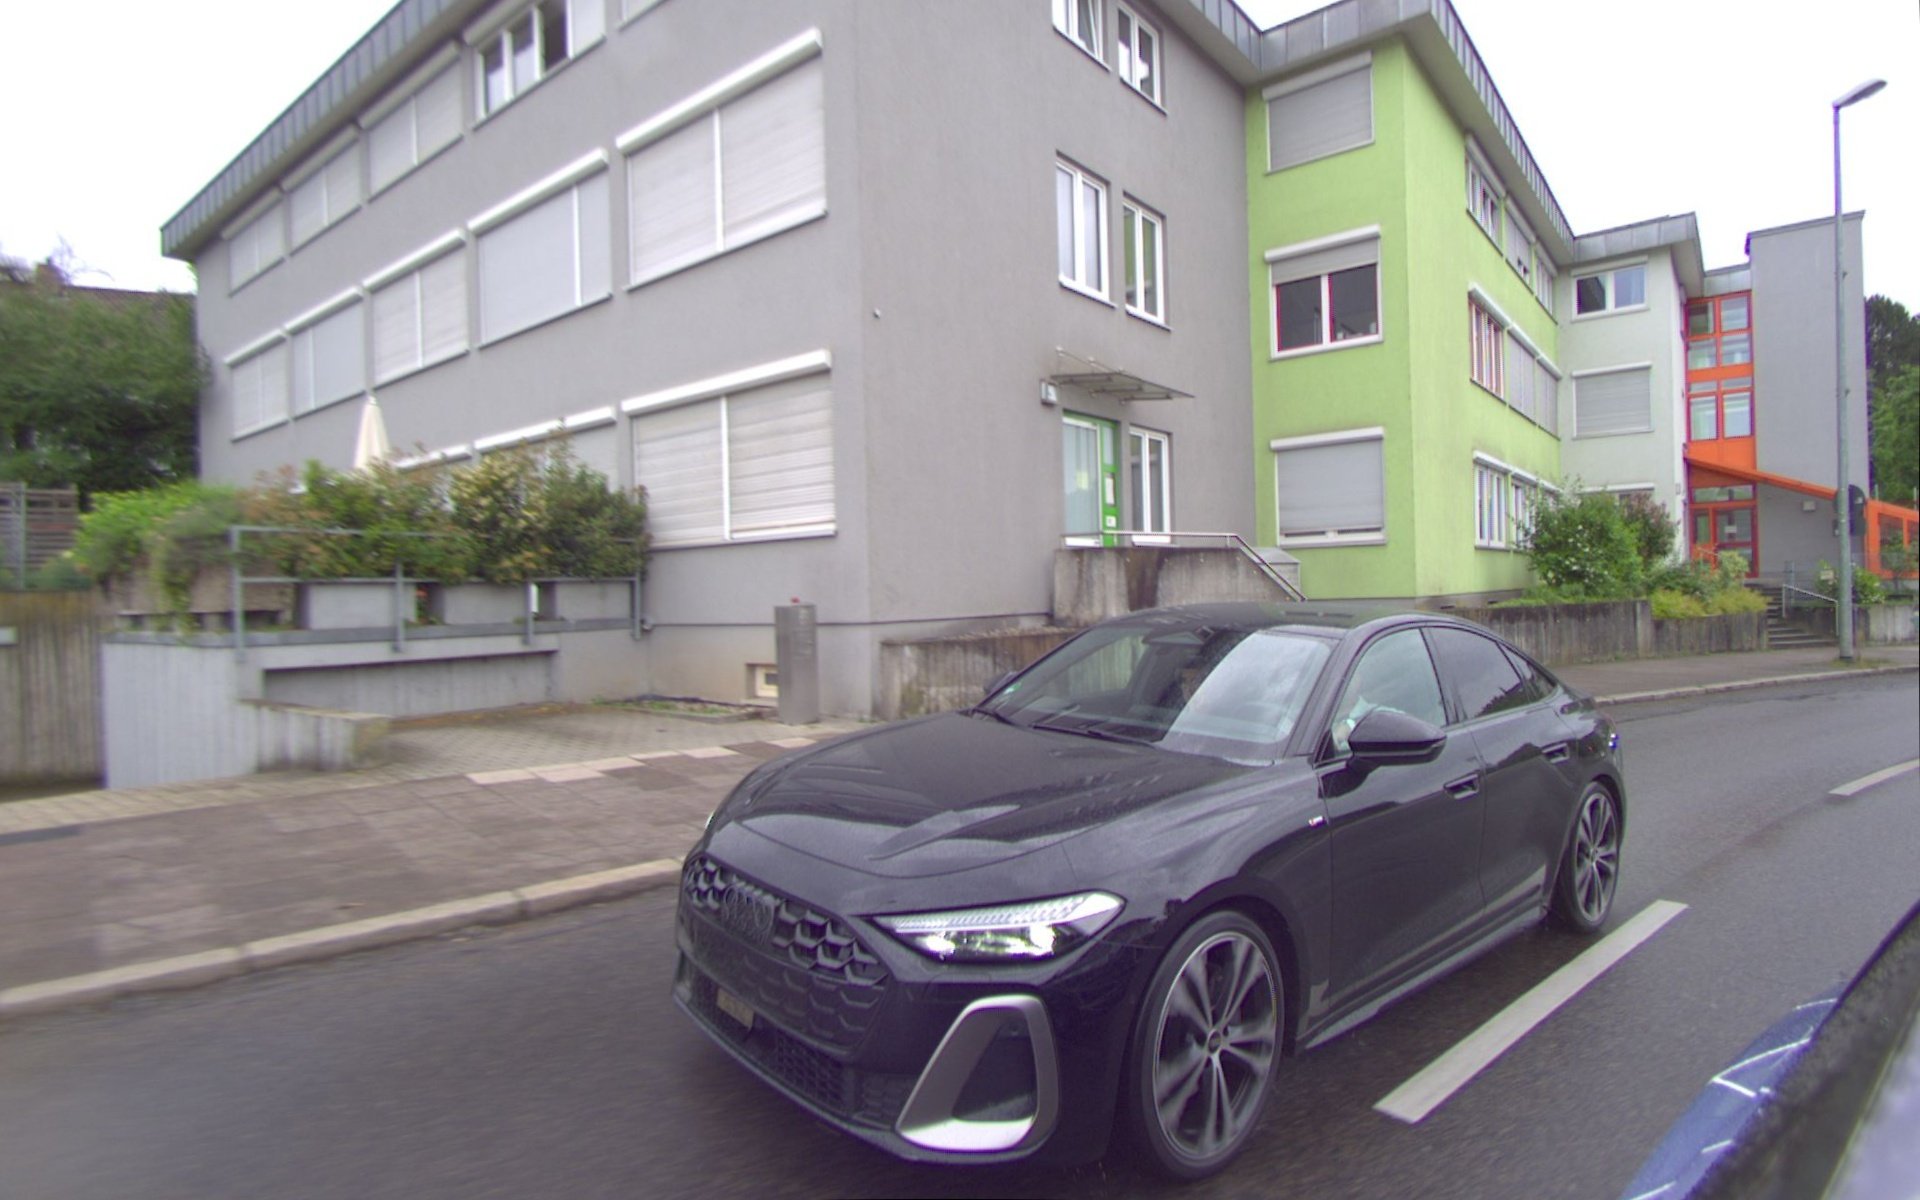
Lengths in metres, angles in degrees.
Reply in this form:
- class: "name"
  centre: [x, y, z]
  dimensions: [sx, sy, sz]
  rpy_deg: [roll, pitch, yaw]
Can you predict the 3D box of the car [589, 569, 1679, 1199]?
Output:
- class: "car"
  centre: [1.158, 0.672, 4.158]
  dimensions: [4.658, 1.442, 1.869]
  rpy_deg: [-3, 2, -41]
